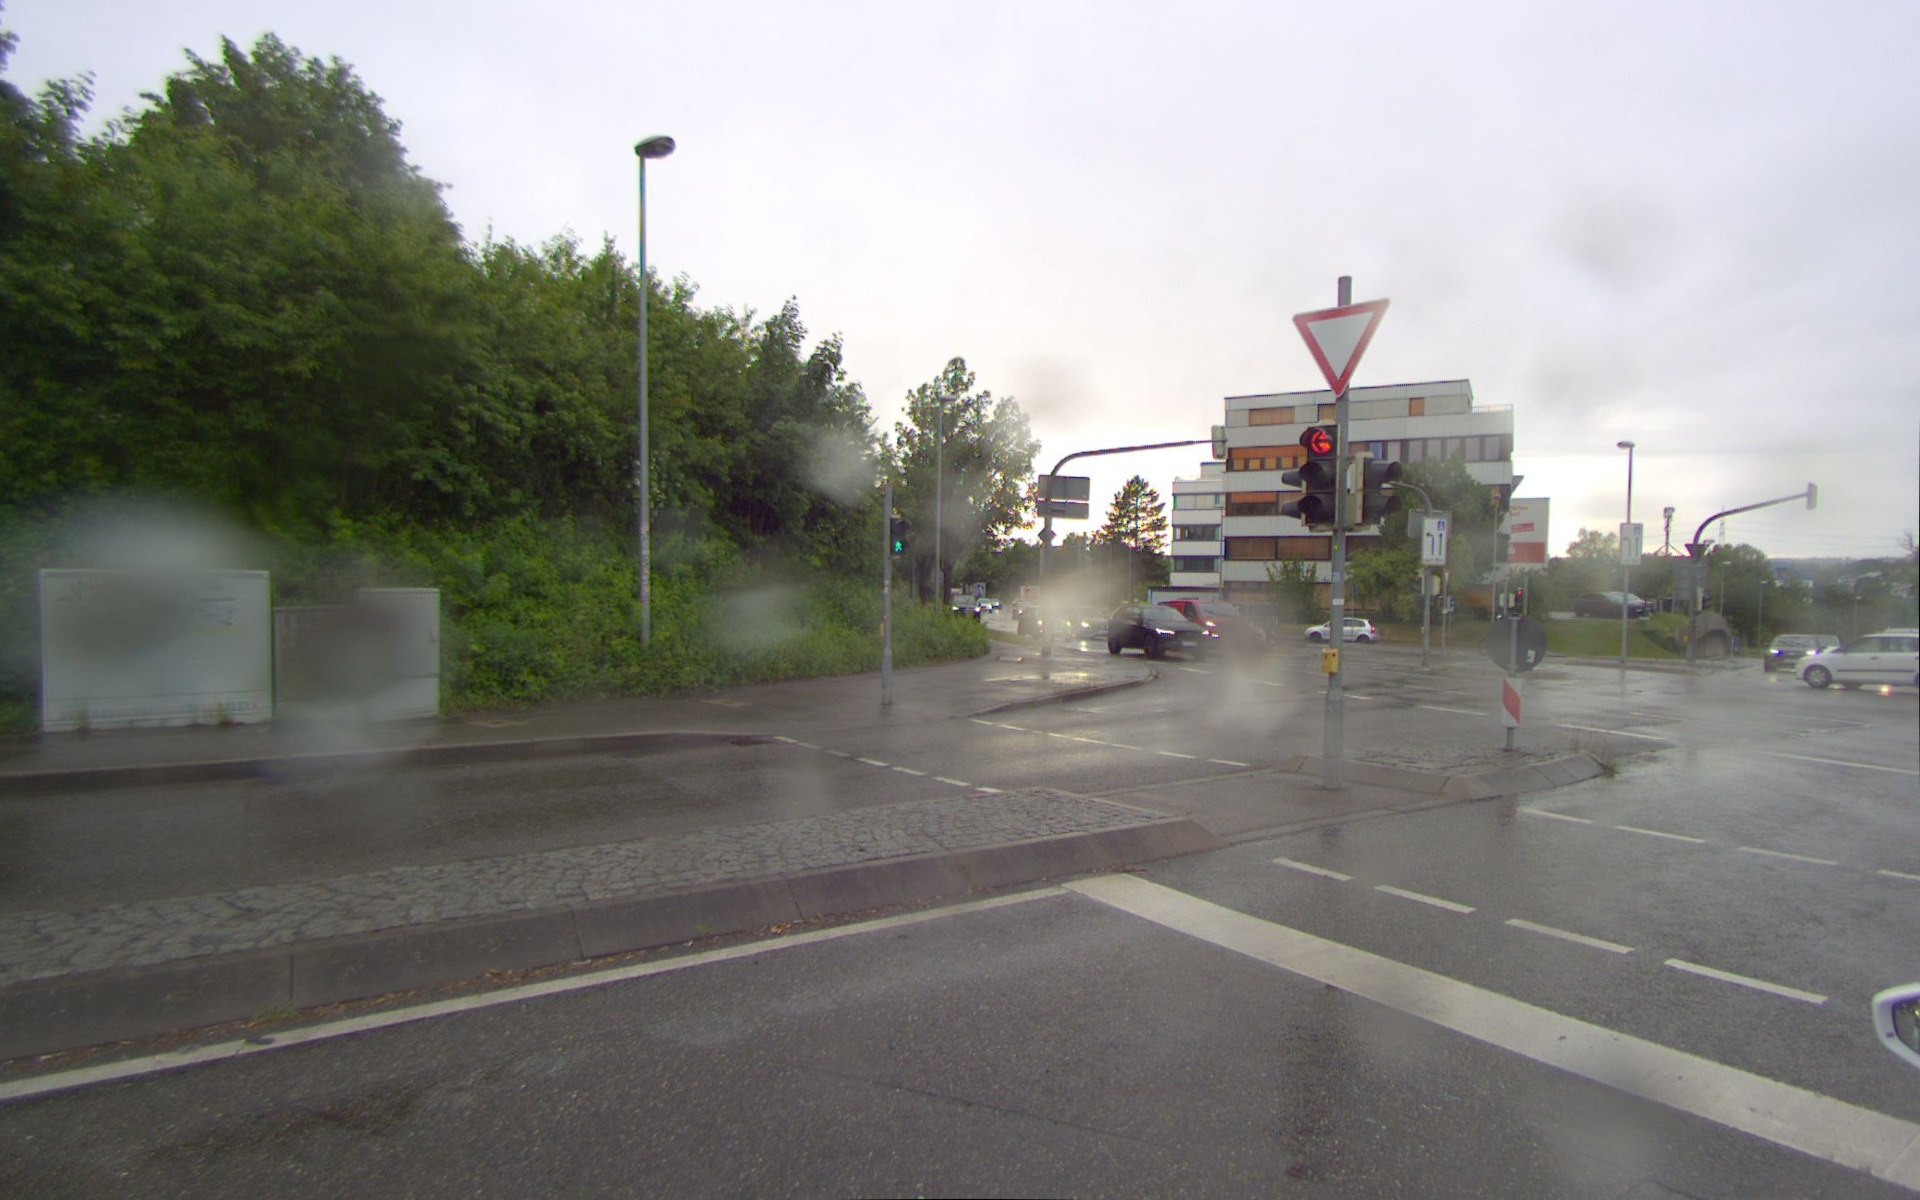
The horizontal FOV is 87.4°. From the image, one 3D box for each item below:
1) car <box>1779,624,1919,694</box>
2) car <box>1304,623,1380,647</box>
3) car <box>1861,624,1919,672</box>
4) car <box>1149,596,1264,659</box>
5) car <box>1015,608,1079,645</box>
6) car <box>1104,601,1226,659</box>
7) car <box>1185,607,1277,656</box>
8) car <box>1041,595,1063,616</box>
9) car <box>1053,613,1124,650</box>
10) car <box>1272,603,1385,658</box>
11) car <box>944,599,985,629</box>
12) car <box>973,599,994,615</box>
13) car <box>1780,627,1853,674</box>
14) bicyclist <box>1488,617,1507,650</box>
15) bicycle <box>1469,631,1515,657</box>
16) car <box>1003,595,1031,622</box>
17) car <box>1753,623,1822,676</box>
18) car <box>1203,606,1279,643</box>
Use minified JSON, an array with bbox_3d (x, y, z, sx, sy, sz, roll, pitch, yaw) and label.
[{"bbox_3d":[24.240,1.515,26.248,1.927,1.617,3.982,1,1,-19],"label":"car"},{"bbox_3d":[20.450,1.862,53.777,3.456,1.120,1.815,2,1,34],"label":"car"},{"bbox_3d":[35.850,1.790,38.309,3.974,1.639,1.973,1,1,-45],"label":"car"},{"bbox_3d":[8.637,0.919,35.659,1.966,2.040,4.774,1,0,-13],"label":"car"},{"bbox_3d":[3.672,1.116,42.901,1.653,1.405,3.450,1,1,-14],"label":"car"},{"bbox_3d":[6.405,0.923,31.988,2.000,1.701,4.619,1,-1,-14],"label":"car"},{"bbox_3d":[10.615,1.200,39.643,1.964,1.706,3.992,1,1,-10],"label":"car"},{"bbox_3d":[9.711,0.559,105.959,1.960,2.041,5.013,1,1,2],"label":"car"},{"bbox_3d":[5.921,1.433,46.877,1.964,1.496,4.665,1,1,-11],"label":"car"},{"bbox_3d":[13.644,1.094,37.455,1.966,1.865,4.143,1,1,-14],"label":"car"},{"bbox_3d":[0.238,0.869,64.581,1.963,1.725,4.605,1,1,-8],"label":"car"},{"bbox_3d":[2.416,0.694,105.660,1.810,1.534,3.997,1,0,-4],"label":"car"},{"bbox_3d":[38.942,2.243,45.635,3.970,1.920,1.975,1,1,-42],"label":"car"},{"bbox_3d":[24.497,1.508,45.802,0.597,1.465,0.539,1,1,-36],"label":"bicyclist"},{"bbox_3d":[24.361,2.009,45.980,0.604,1.066,1.762,1,1,-35],"label":"bicycle"},{"bbox_3d":[4.584,0.627,81.425,1.960,2.041,5.013,1,1,1],"label":"car"},{"bbox_3d":[33.505,1.944,40.632,1.971,1.920,3.979,2,1,42],"label":"car"},{"bbox_3d":[15.193,1.298,54.534,1.970,1.873,3.980,1,1,-21],"label":"car"}]
